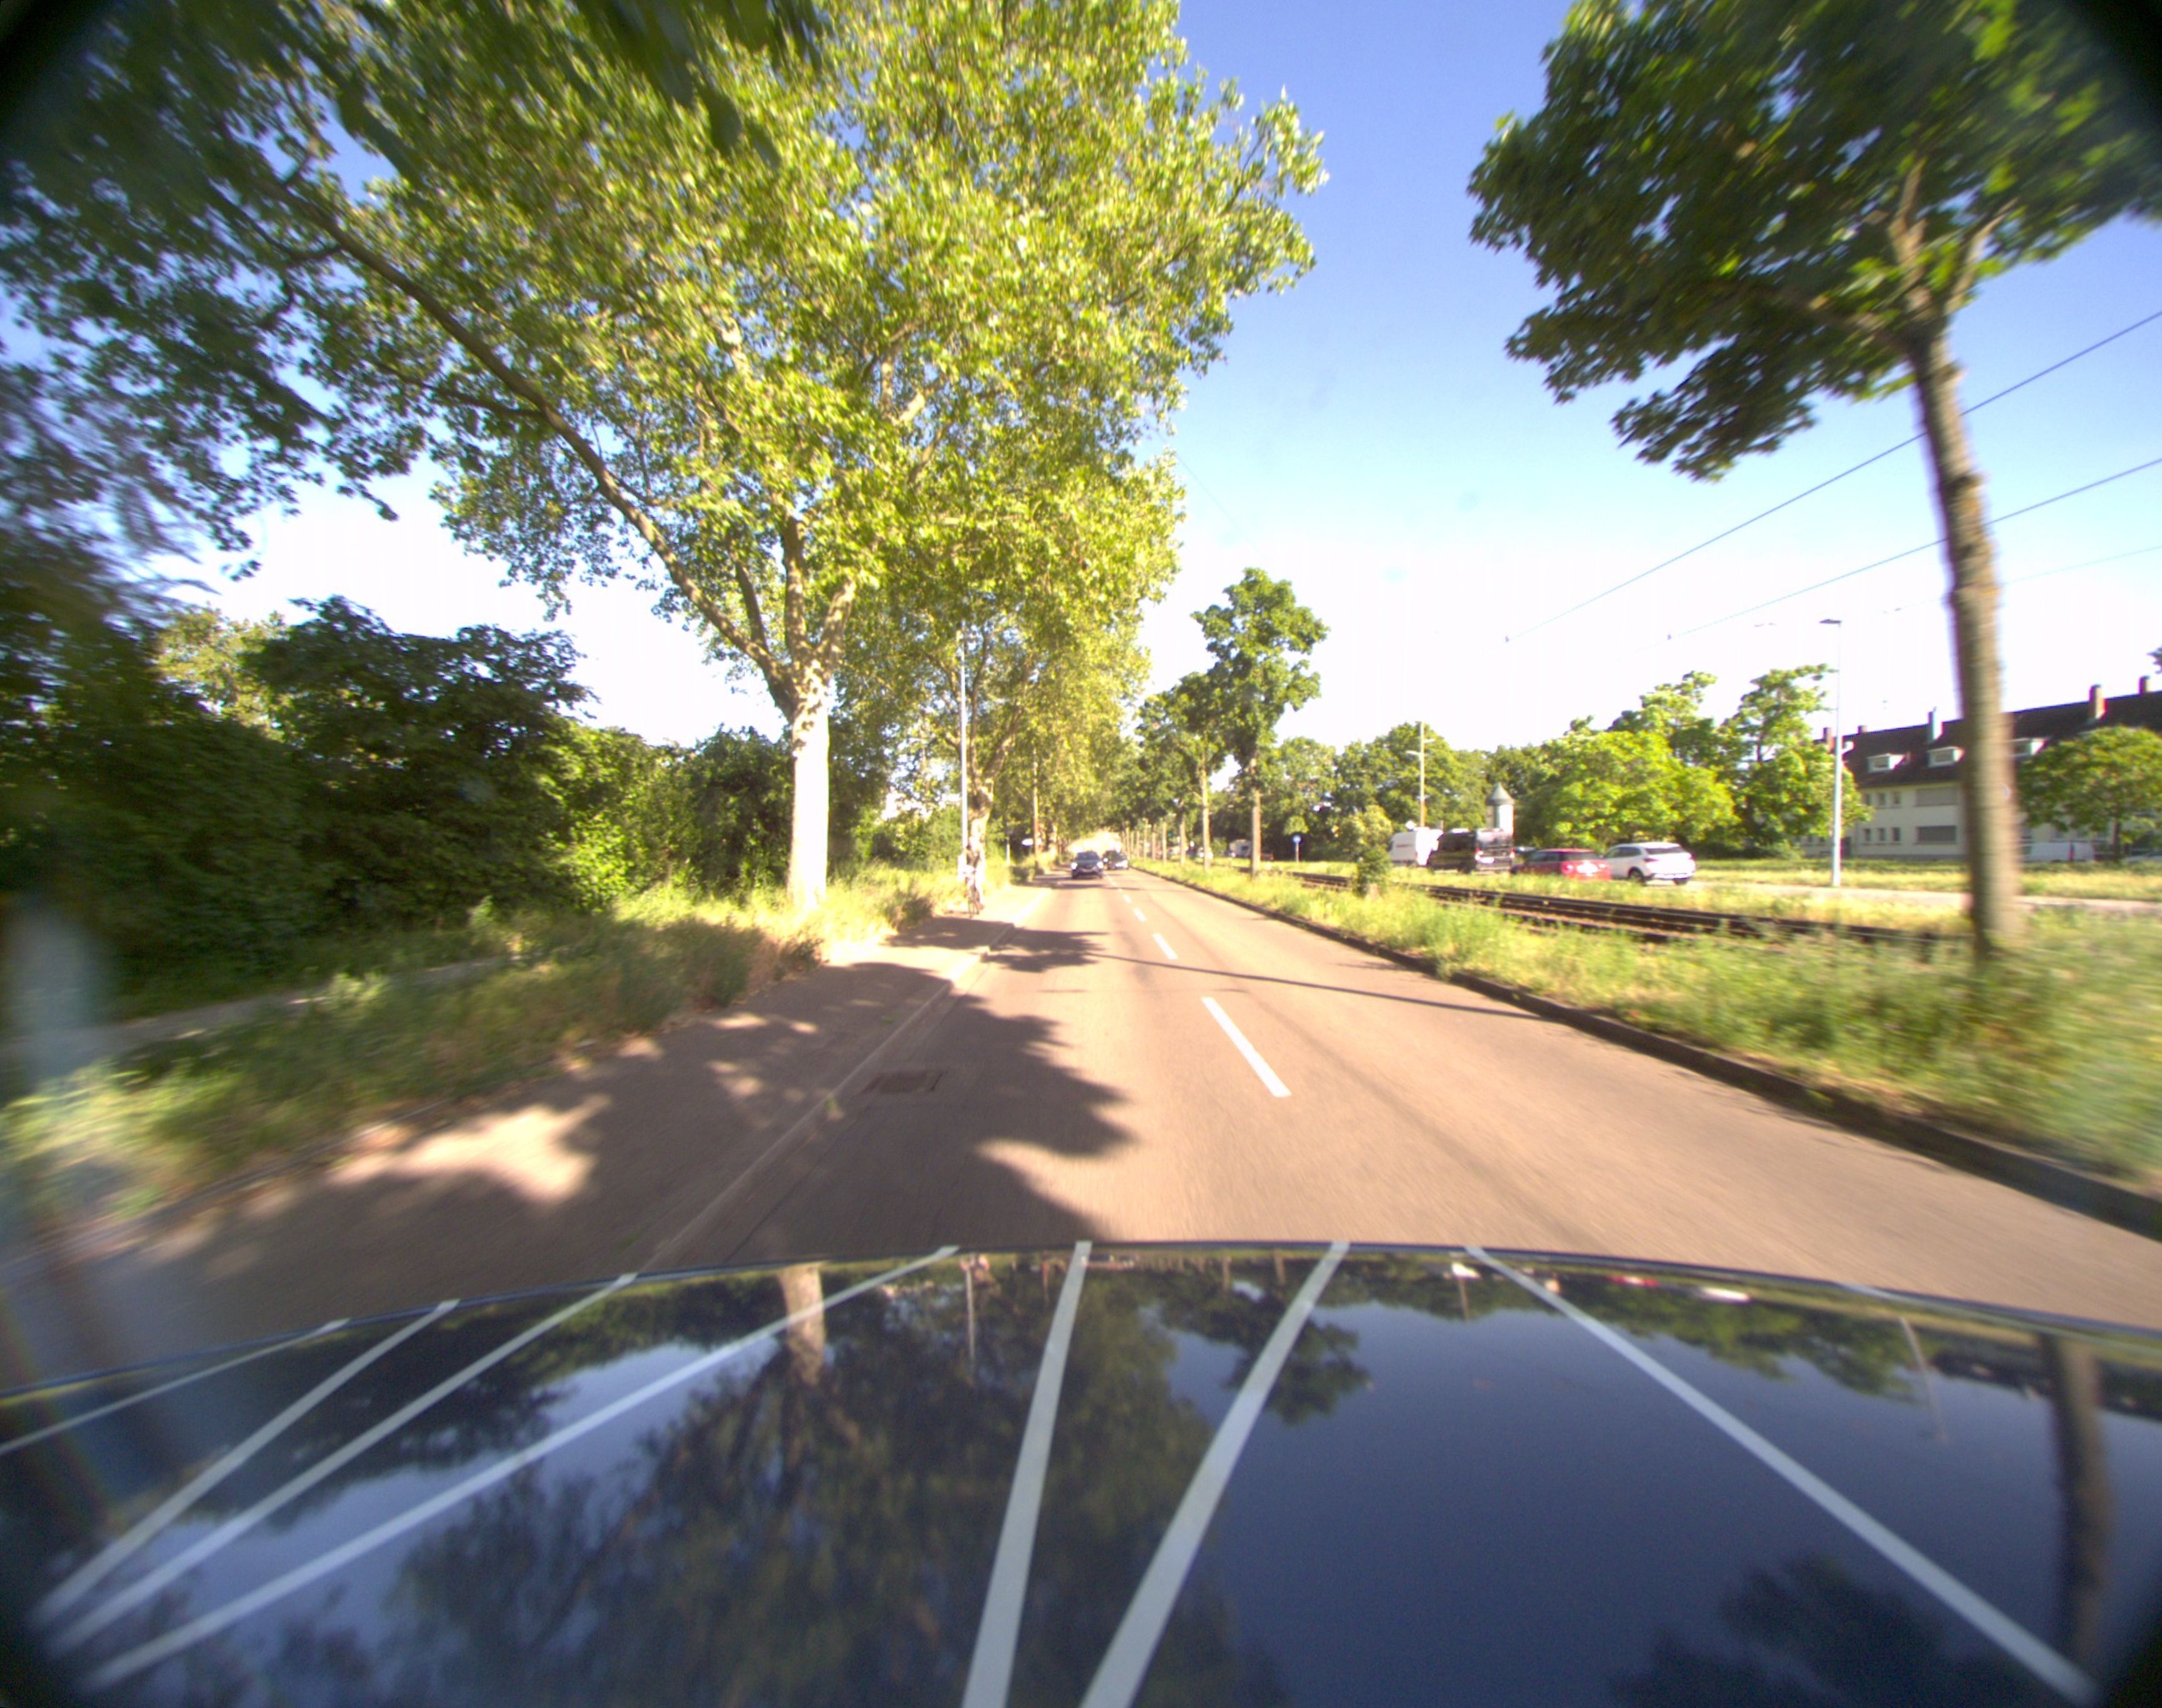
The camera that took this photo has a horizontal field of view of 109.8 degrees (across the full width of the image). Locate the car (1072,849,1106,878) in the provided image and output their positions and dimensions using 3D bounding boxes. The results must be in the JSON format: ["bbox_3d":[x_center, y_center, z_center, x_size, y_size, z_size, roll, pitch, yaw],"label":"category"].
[{"bbox_3d":[0.451,0.520,44.248,1.808,1.478,3.546,-3,1,0],"label":"car"}]

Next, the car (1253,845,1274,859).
[{"bbox_3d":[22.509,-0.289,93.938,1.678,1.575,4.247,-3,1,3],"label":"car"}]

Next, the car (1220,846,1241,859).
[{"bbox_3d":[18.283,-0.209,93.220,1.998,1.522,3.751,-1,1,2],"label":"car"}]

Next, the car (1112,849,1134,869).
[{"bbox_3d":[3.456,0.361,63.368,1.714,1.478,3.546,-3,1,2],"label":"car"}]

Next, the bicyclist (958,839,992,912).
[{"bbox_3d":[-2.415,0.476,17.371,0.615,1.619,0.909,-1,1,1],"label":"bicyclist"}]

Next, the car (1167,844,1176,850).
[{"bbox_3d":[22.364,-1.719,187.889,1.731,1.519,4.441,-3,1,2],"label":"car"}]

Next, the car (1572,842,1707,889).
[{"bbox_3d":[21.735,0.383,29.867,1.827,1.598,4.773,-3,1,1],"label":"car"}]

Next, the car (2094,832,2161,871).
[{"bbox_3d":[59.468,-0.153,41.800,2.000,2.002,3.996,-3,1,-8],"label":"car"}]

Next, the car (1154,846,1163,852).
[{"bbox_3d":[20.116,-1.375,197.279,1.731,1.519,4.441,-3,1,2],"label":"car"}]

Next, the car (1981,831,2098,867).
[{"bbox_3d":[59.040,-0.350,46.912,2.000,2.002,3.996,-3,2,-8],"label":"car"}]

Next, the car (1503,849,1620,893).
[{"bbox_3d":[16.930,0.543,27.036,1.680,1.401,4.000,-1,0,1],"label":"car"}]

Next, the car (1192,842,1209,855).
[{"bbox_3d":[17.464,-0.759,111.269,1.815,1.734,4.981,-3,1,1],"label":"car"}]

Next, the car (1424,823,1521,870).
[{"bbox_3d":[21.945,-0.477,43.000,2.188,2.363,6.463,-3,1,1],"label":"car"}]

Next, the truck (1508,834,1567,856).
[{"bbox_3d":[43.606,-0.835,72.588,4.946,1.858,2.080,-3,2,-18],"label":"truck"}]

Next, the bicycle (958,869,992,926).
[{"bbox_3d":[-2.402,0.968,17.366,0.441,1.146,1.822,-3,1,1],"label":"bicycle"}]

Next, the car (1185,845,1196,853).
[{"bbox_3d":[20.143,-1.000,140.098,1.561,1.387,3.819,-3,1,1],"label":"car"}]

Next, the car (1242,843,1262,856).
[{"bbox_3d":[22.740,-0.620,100.938,1.626,1.613,4.532,-3,1,1],"label":"car"}]

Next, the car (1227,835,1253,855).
[{"bbox_3d":[22.641,-1.298,108.475,2.231,2.566,6.798,-3,1,1],"label":"car"}]

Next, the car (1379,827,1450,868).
[{"bbox_3d":[22.129,-0.457,50.787,2.006,2.482,6.135,-3,1,0],"label":"car"}]
